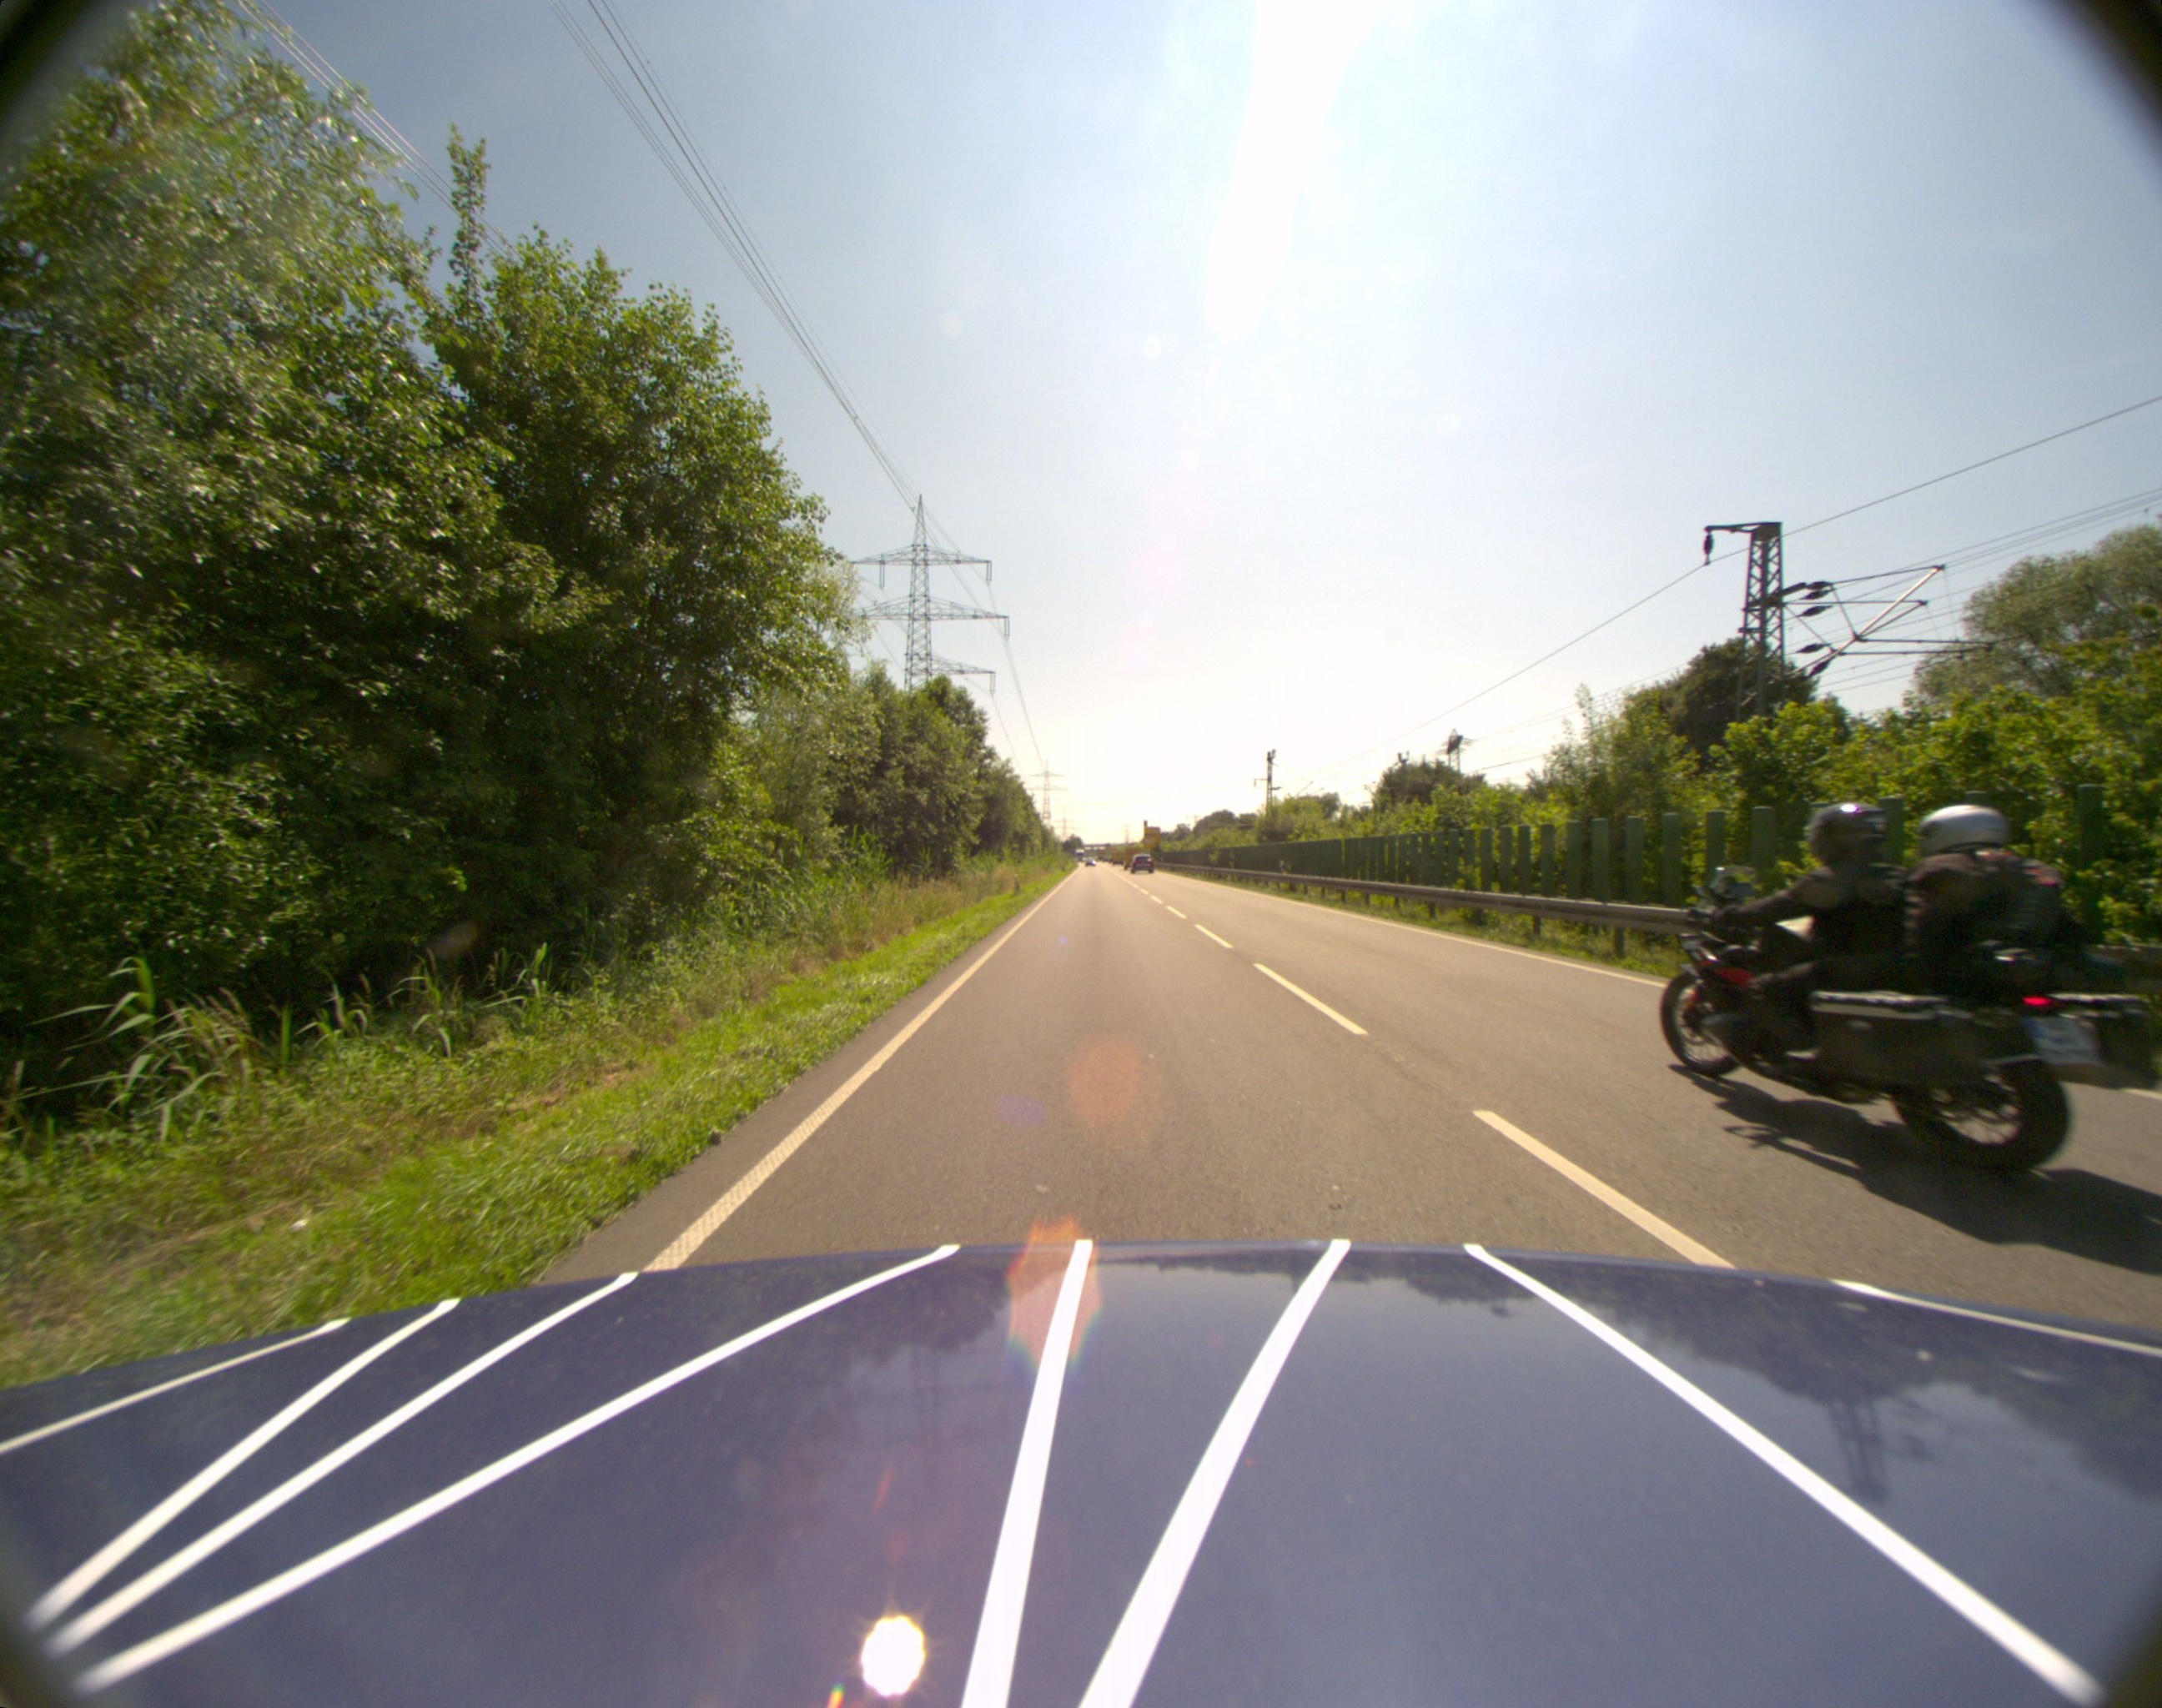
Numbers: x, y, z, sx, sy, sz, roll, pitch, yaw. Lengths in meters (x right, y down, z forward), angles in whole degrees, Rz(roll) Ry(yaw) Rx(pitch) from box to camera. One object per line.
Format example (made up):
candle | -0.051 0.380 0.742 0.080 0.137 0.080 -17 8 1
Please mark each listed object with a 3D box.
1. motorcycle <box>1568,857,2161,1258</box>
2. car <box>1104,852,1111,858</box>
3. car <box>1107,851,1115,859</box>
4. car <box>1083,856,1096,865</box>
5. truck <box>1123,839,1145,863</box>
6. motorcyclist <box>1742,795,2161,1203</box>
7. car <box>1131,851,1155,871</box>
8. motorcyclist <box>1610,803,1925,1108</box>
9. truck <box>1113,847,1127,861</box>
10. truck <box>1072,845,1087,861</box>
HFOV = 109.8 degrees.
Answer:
motorcycle | 4.018 0.794 4.232 0.970 1.487 2.630 -2 1 2
car | 7.124 0.187 207.277 1.677 1.506 4.289 -1 0 0
car | 6.496 0.256 164.836 1.806 1.578 4.371 -1 0 1
car | 1.323 1.059 122.588 1.998 1.346 4.157 -2 1 0
truck | 6.034 -0.322 86.791 2.085 2.631 5.704 -1 0 0
motorcyclist | 3.980 0.575 3.507 0.961 1.600 1.003 -2 1 2
car | 5.491 0.584 67.579 1.819 1.684 4.706 -1 0 1
motorcyclist | 4.020 0.545 4.564 0.961 1.600 1.003 -2 1 2
truck | 6.393 -0.026 125.605 1.998 2.334 6.012 -1 0 1
truck | -0.508 -0.371 233.189 4.219 4.608 21.303 -2 0 0
